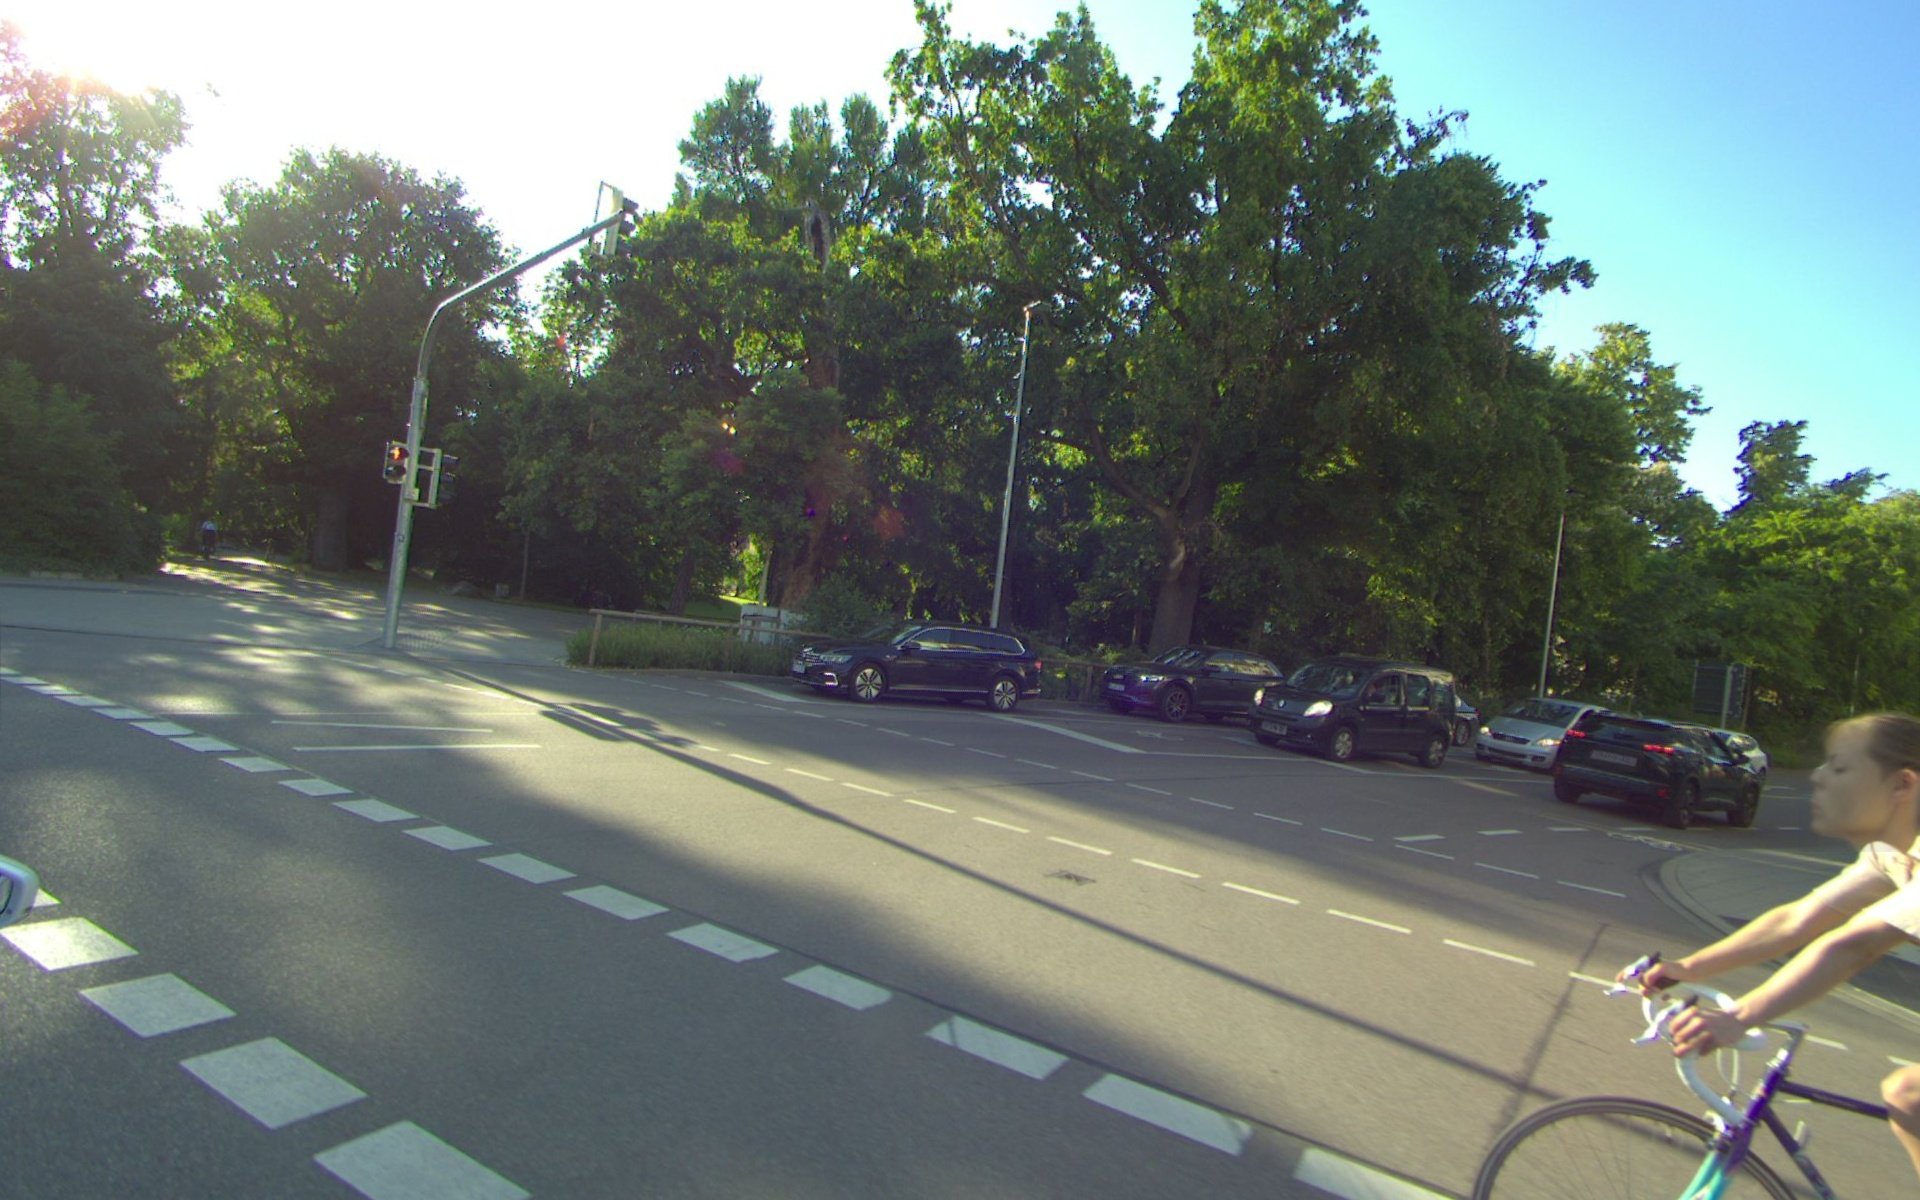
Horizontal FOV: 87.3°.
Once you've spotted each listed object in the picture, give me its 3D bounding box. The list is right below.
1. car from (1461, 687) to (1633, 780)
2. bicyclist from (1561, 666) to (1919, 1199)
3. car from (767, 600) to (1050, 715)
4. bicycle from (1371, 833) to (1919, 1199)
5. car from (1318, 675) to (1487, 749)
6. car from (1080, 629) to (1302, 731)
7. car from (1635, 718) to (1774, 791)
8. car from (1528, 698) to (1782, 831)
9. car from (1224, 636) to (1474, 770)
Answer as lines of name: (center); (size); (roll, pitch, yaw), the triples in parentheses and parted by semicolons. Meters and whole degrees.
car: (12.717, 2.898, 21.759); (3.496, 1.529, 1.722); (8, 1, -34)
bicyclist: (1.855, 0.959, 1.957); (1.063, 1.509, 0.553); (7, 0, 32)
car: (-0.837, 1.037, 17.691); (4.558, 1.491, 1.887); (8, -2, -34)
bicycle: (1.824, 1.238, 1.955); (1.812, 1.111, 0.521); (7, 0, 32)
car: (11.257, 2.856, 25.501); (4.195, 1.398, 1.887); (8, -2, -34)
car: (5.035, 1.745, 21.771); (4.488, 1.672, 1.889); (8, -1, -30)
car: (19.083, 3.961, 25.744); (3.616, 1.432, 1.616); (8, 1, -34)
car: (11.115, 2.651, 16.023); (4.024, 1.546, 1.884); (9, 0, -35)
car: (7.005, 1.868, 18.013); (4.208, 1.827, 1.930); (8, 1, -34)
